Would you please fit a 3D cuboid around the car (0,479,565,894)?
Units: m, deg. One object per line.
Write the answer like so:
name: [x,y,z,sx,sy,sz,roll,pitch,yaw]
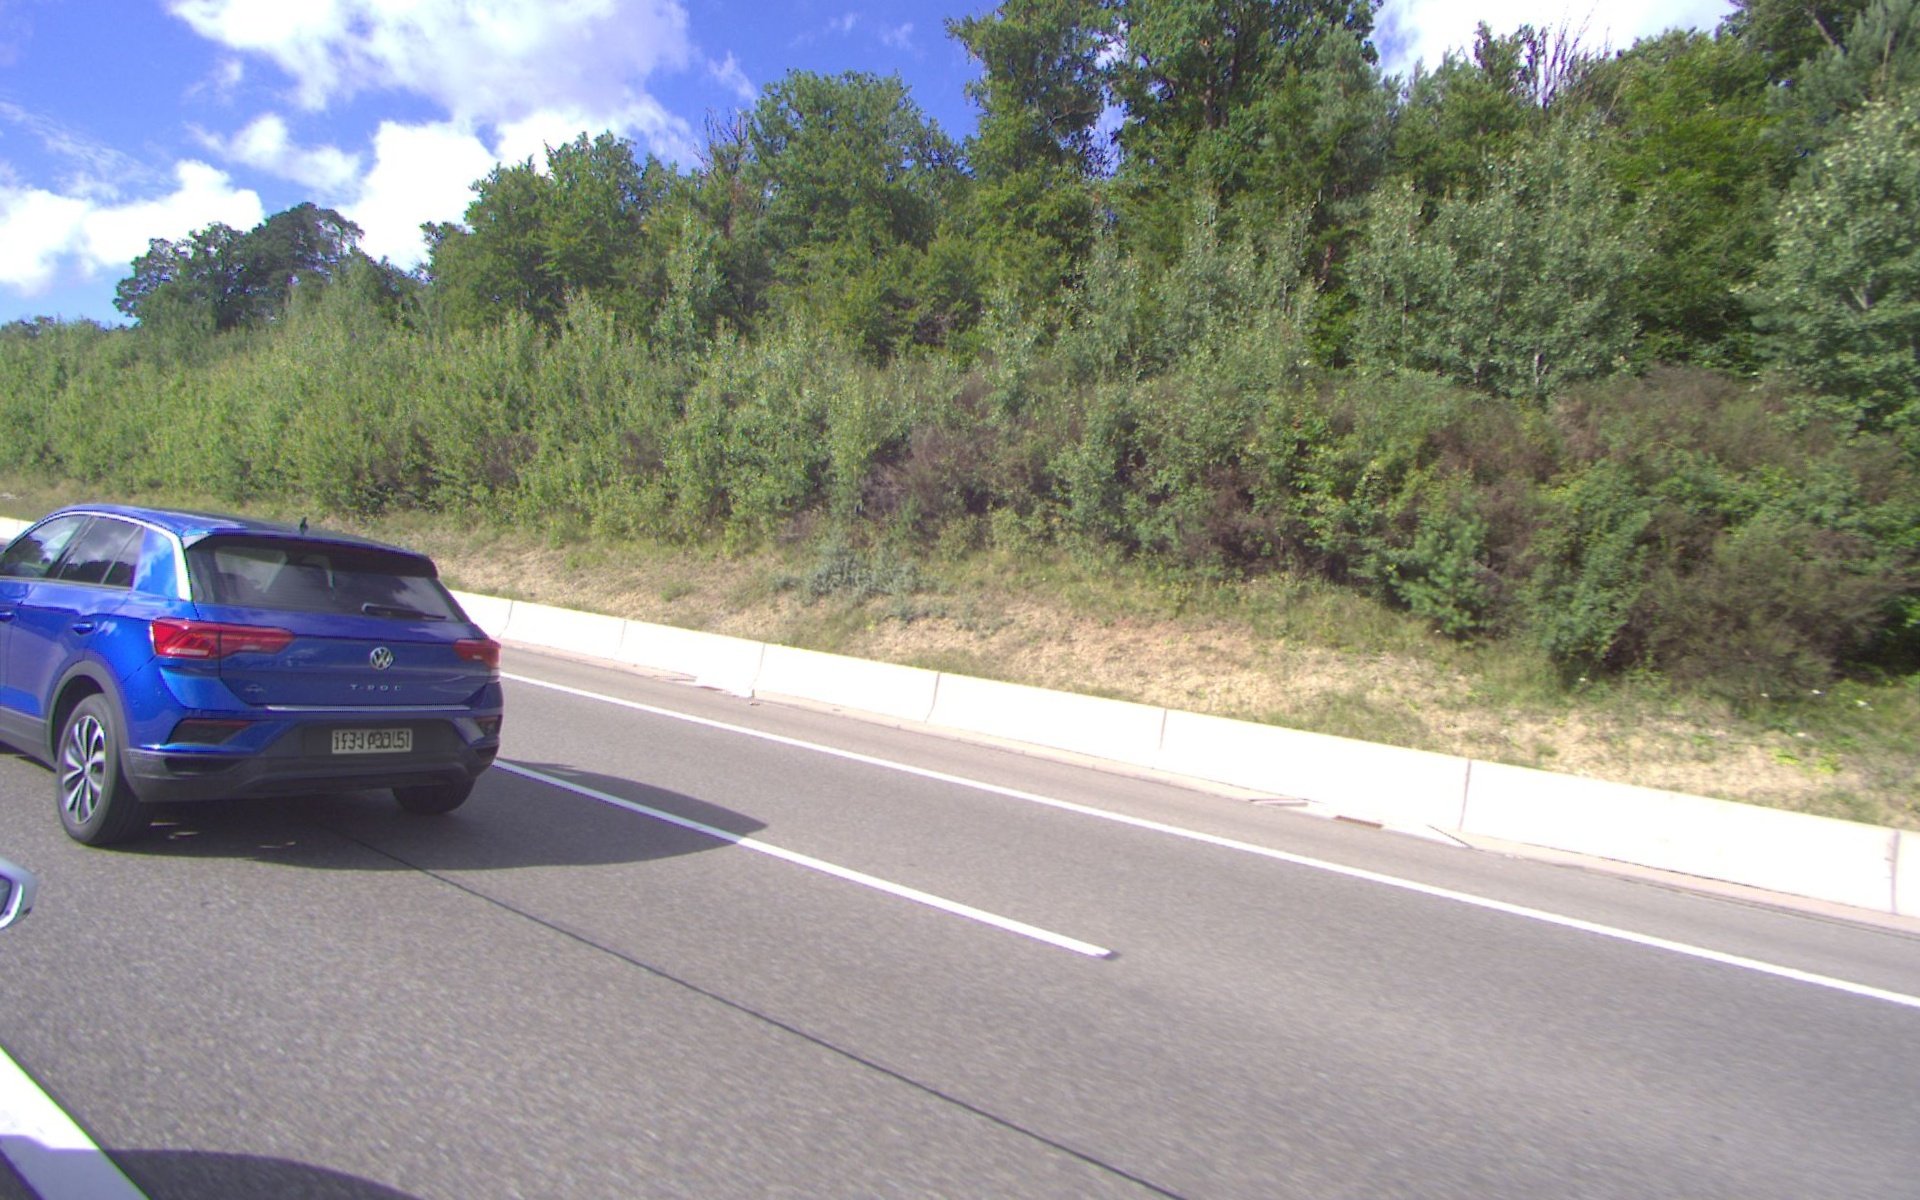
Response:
car: [-4.540,0.212,5.828,4.383,1.549,1.775,7,0,31]
